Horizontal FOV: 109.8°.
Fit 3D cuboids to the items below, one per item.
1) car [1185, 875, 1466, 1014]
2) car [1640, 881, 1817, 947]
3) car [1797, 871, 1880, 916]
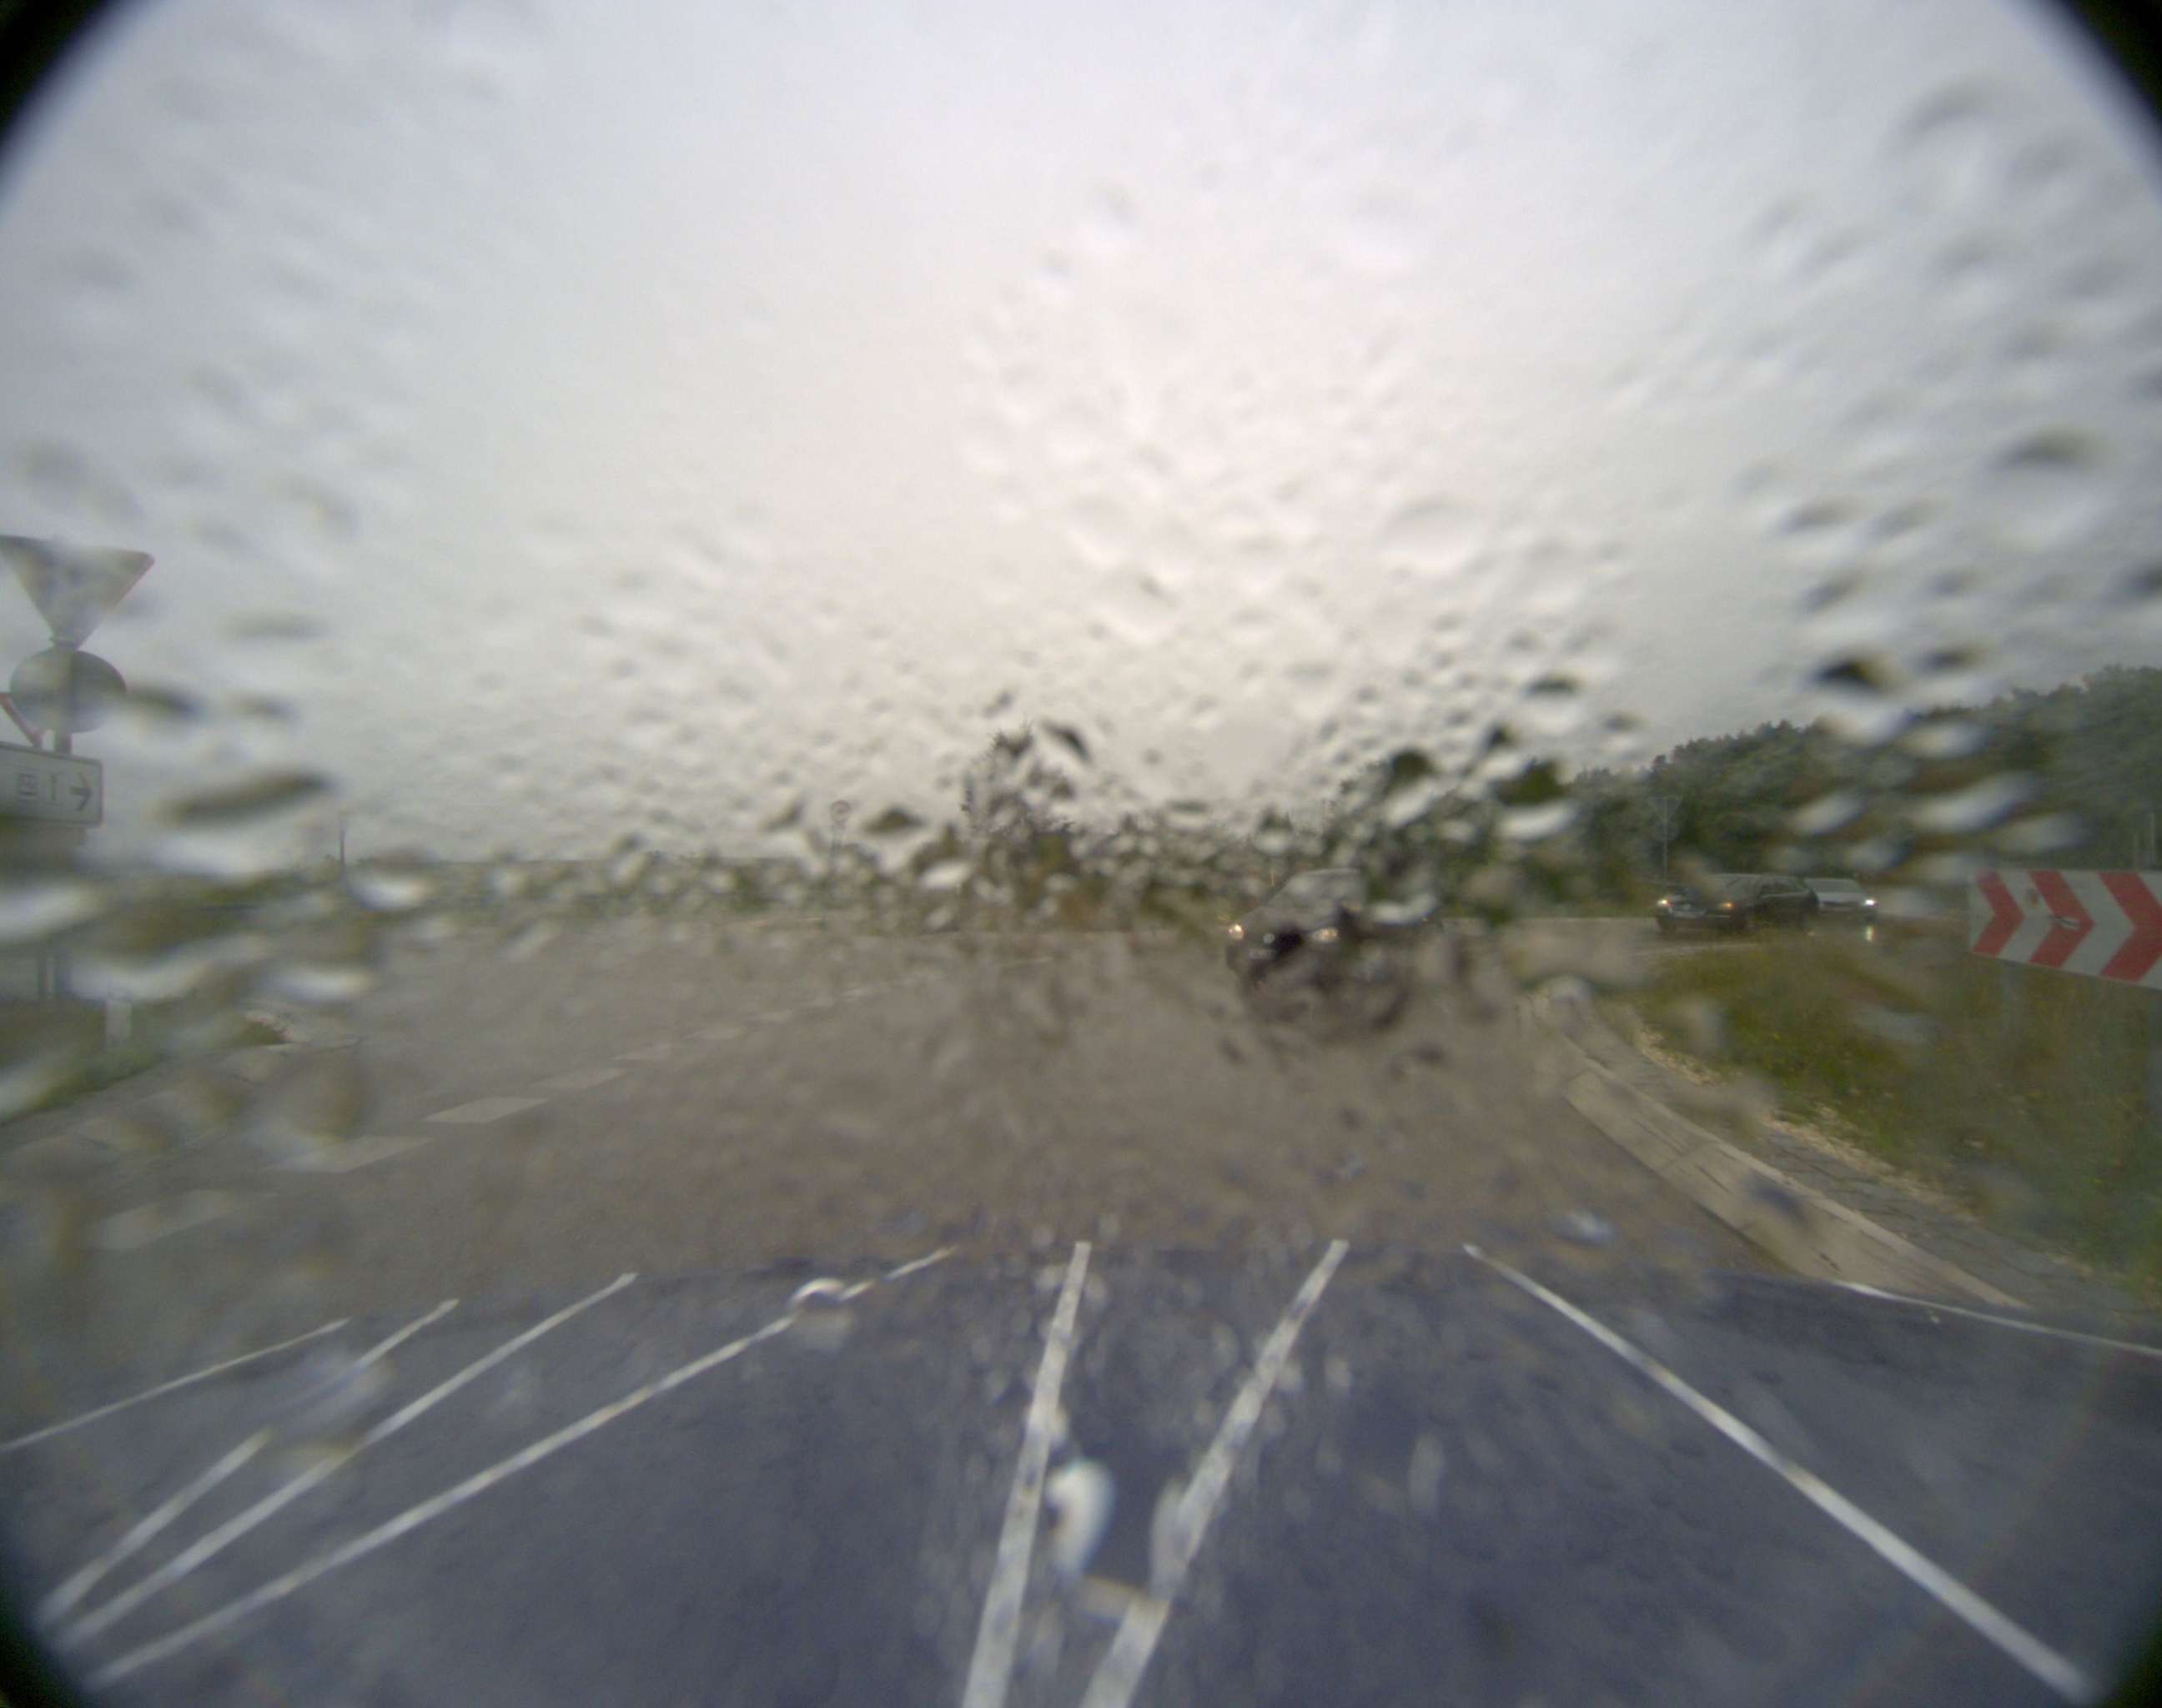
[{"bbox_3d":[3.497,1.017,10.280,1.869,1.412,4.514,0,-1,43],"label":"car"},{"bbox_3d":[15.791,1.405,18.486,4.512,1.363,1.945,2,-1,-31],"label":"car"},{"bbox_3d":[26.467,1.354,26.681,1.759,1.412,4.514,1,-1,41],"label":"car"}]
